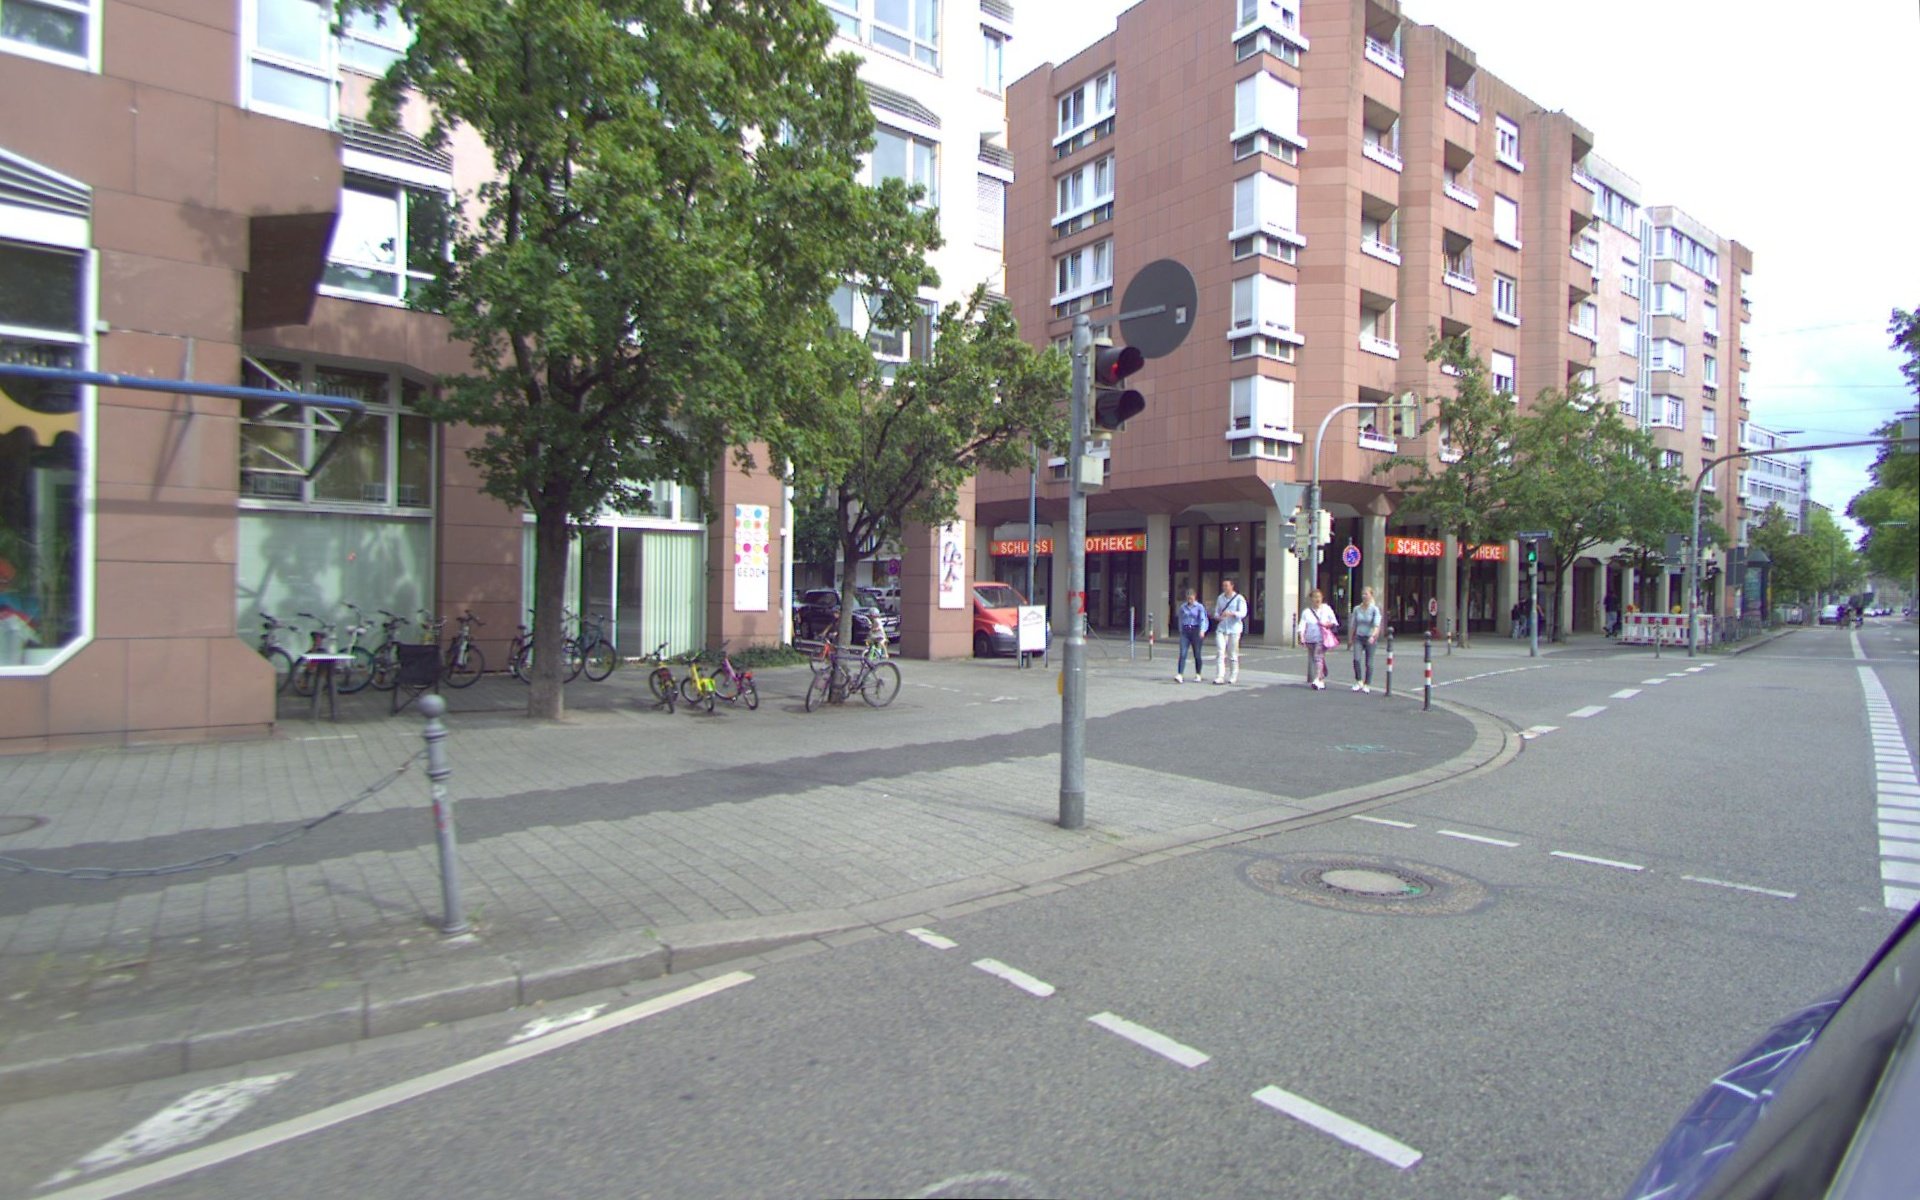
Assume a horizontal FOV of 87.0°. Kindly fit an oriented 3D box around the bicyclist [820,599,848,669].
[{"bbox_3d":[-2.315,0.611,18.533,0.470,1.260,0.499,1,0,-10],"label":"bicyclist"}]

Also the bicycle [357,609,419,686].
[{"bbox_3d":[-8.362,0.664,14.771,0.463,1.021,1.733,0,0,-40],"label":"bicycle"}]

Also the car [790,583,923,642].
[{"bbox_3d":[-3.267,0.307,30.985,1.962,1.610,4.843,-2,2,-35],"label":"car"}]

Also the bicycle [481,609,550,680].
[{"bbox_3d":[-7.037,0.672,15.985,0.537,1.021,1.733,0,1,-40],"label":"bicycle"}]

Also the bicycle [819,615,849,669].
[{"bbox_3d":[-2.325,0.751,18.593,0.465,0.926,1.322,1,0,-10],"label":"bicycle"}]

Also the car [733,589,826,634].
[{"bbox_3d":[-6.376,0.360,35.474,1.693,1.422,3.981,-1,2,-35],"label":"car"}]

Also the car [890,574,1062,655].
[{"bbox_3d":[0.295,0.290,26.027,1.962,1.848,4.843,-2,2,-35],"label":"car"}]

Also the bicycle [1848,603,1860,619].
[{"bbox_3d":[63.925,0.787,72.392,0.594,1.153,2.059,2,1,42],"label":"bicycle"}]

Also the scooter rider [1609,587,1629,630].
[{"bbox_3d":[26.955,0.343,41.406,0.542,1.742,0.464,1,0,-30],"label":"scooter rider"}]

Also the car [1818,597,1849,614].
[{"bbox_3d":[78.397,0.491,90.826,1.817,1.461,4.591,1,1,44],"label":"car"}]

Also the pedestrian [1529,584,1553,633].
[{"bbox_3d":[21.950,0.317,38.234,0.645,1.822,0.553,1,0,-37],"label":"pedestrian"}]

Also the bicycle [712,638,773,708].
[{"bbox_3d":[-3.000,0.975,13.912,0.445,0.848,1.304,0,0,-30],"label":"bicycle"}]

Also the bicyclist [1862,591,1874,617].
[{"bbox_3d":[62.872,0.279,70.059,0.589,1.793,1.019,2,1,42],"label":"bicyclist"}]

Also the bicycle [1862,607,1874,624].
[{"bbox_3d":[62.876,1.041,70.089,0.594,1.153,1.830,2,1,42],"label":"bicycle"}]

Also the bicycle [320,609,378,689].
[{"bbox_3d":[-8.712,0.665,14.401,0.430,1.021,1.733,0,0,-40],"label":"bicycle"}]

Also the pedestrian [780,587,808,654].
[{"bbox_3d":[-4.417,0.543,26.918,0.472,1.746,0.590,1,0,-38],"label":"pedestrian"}]

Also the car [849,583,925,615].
[{"bbox_3d":[-3.708,-0.057,52.159,1.832,1.577,4.416,1,1,28],"label":"car"}]

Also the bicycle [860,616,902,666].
[{"bbox_3d":[-1.578,0.801,20.050,0.444,0.926,1.286,1,0,-22],"label":"bicycle"}]

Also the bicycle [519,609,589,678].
[{"bbox_3d":[-6.576,0.678,16.341,0.537,1.021,1.733,0,1,-40],"label":"bicycle"}]

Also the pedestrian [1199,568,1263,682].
[{"bbox_3d":[4.561,0.404,17.026,0.836,1.851,0.677,1,0,-41],"label":"pedestrian"}]

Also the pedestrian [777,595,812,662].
[{"bbox_3d":[-4.005,0.677,24.492,0.568,1.599,0.652,1,0,-37],"label":"pedestrian"}]

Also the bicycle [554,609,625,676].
[{"bbox_3d":[-6.161,0.680,16.775,0.537,1.021,1.733,0,1,-40],"label":"bicycle"}]

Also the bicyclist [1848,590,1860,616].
[{"bbox_3d":[63.897,0.200,72.340,0.589,1.790,1.019,2,1,42],"label":"bicyclist"}]

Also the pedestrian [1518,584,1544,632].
[{"bbox_3d":[22.005,0.314,38.991,0.643,1.822,0.554,1,0,-17],"label":"pedestrian"}]

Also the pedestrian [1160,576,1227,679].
[{"bbox_3d":[4.026,0.452,17.443,1.004,1.722,0.653,1,0,-40],"label":"pedestrian"}]

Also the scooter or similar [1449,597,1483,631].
[{"bbox_3d":[18.056,0.495,36.074,1.381,1.184,0.555,0,0,-39],"label":"scooter or similar"}]

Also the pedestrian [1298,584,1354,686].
[{"bbox_3d":[6.059,0.555,16.733,0.836,1.636,0.517,1,0,-41],"label":"pedestrian"}]

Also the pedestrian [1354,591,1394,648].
[{"bbox_3d":[11.565,0.531,28.273,0.930,1.557,0.677,0,0,-40],"label":"pedestrian"}]

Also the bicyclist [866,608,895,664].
[{"bbox_3d":[-1.586,0.705,20.063,0.426,1.079,0.499,1,0,-22],"label":"bicyclist"}]

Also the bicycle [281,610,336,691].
[{"bbox_3d":[-9.070,0.667,14.060,0.423,1.021,1.733,0,0,-40],"label":"bicycle"}]

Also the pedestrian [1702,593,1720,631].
[{"bbox_3d":[33.451,0.540,45.083,0.543,1.670,0.812,1,0,43],"label":"pedestrian"}]

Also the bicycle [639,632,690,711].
[{"bbox_3d":[-3.969,0.931,13.537,0.444,0.878,1.306,0,3,-25],"label":"bicycle"}]

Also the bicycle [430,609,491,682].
[{"bbox_3d":[-7.657,0.664,15.483,0.417,1.021,1.733,0,0,-40],"label":"bicycle"}]

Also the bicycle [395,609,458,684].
[{"bbox_3d":[-7.997,0.664,15.141,0.470,1.021,1.733,0,0,-40],"label":"bicycle"}]

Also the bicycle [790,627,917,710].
[{"bbox_3d":[-1.439,0.906,13.884,1.706,1.021,0.617,0,0,-43],"label":"bicycle"}]

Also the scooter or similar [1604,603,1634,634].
[{"bbox_3d":[26.996,0.746,41.434,1.304,1.221,0.476,0,0,-30],"label":"scooter or similar"}]

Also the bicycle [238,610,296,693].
[{"bbox_3d":[-9.406,0.663,13.713,0.463,1.021,1.733,0,0,-40],"label":"bicycle"}]

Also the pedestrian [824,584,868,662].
[{"bbox_3d":[-2.389,0.479,21.268,0.662,1.599,0.652,1,0,-38],"label":"pedestrian"}]

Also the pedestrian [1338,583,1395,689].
[{"bbox_3d":[6.532,0.560,16.256,0.836,1.636,0.517,1,0,-43],"label":"pedestrian"}]

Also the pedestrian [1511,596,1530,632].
[{"bbox_3d":[21.232,0.526,38.339,0.476,1.340,0.488,1,0,5],"label":"pedestrian"}]

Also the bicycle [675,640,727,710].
[{"bbox_3d":[-3.515,0.990,13.693,0.435,0.824,1.305,0,0,-25],"label":"bicycle"}]

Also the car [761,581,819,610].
[{"bbox_3d":[-10.166,-0.287,60.751,1.824,1.699,3.977,1,1,18],"label":"car"}]

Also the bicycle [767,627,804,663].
[{"bbox_3d":[-4.561,1.165,26.397,0.348,0.848,1.352,1,0,-38],"label":"bicycle"}]
